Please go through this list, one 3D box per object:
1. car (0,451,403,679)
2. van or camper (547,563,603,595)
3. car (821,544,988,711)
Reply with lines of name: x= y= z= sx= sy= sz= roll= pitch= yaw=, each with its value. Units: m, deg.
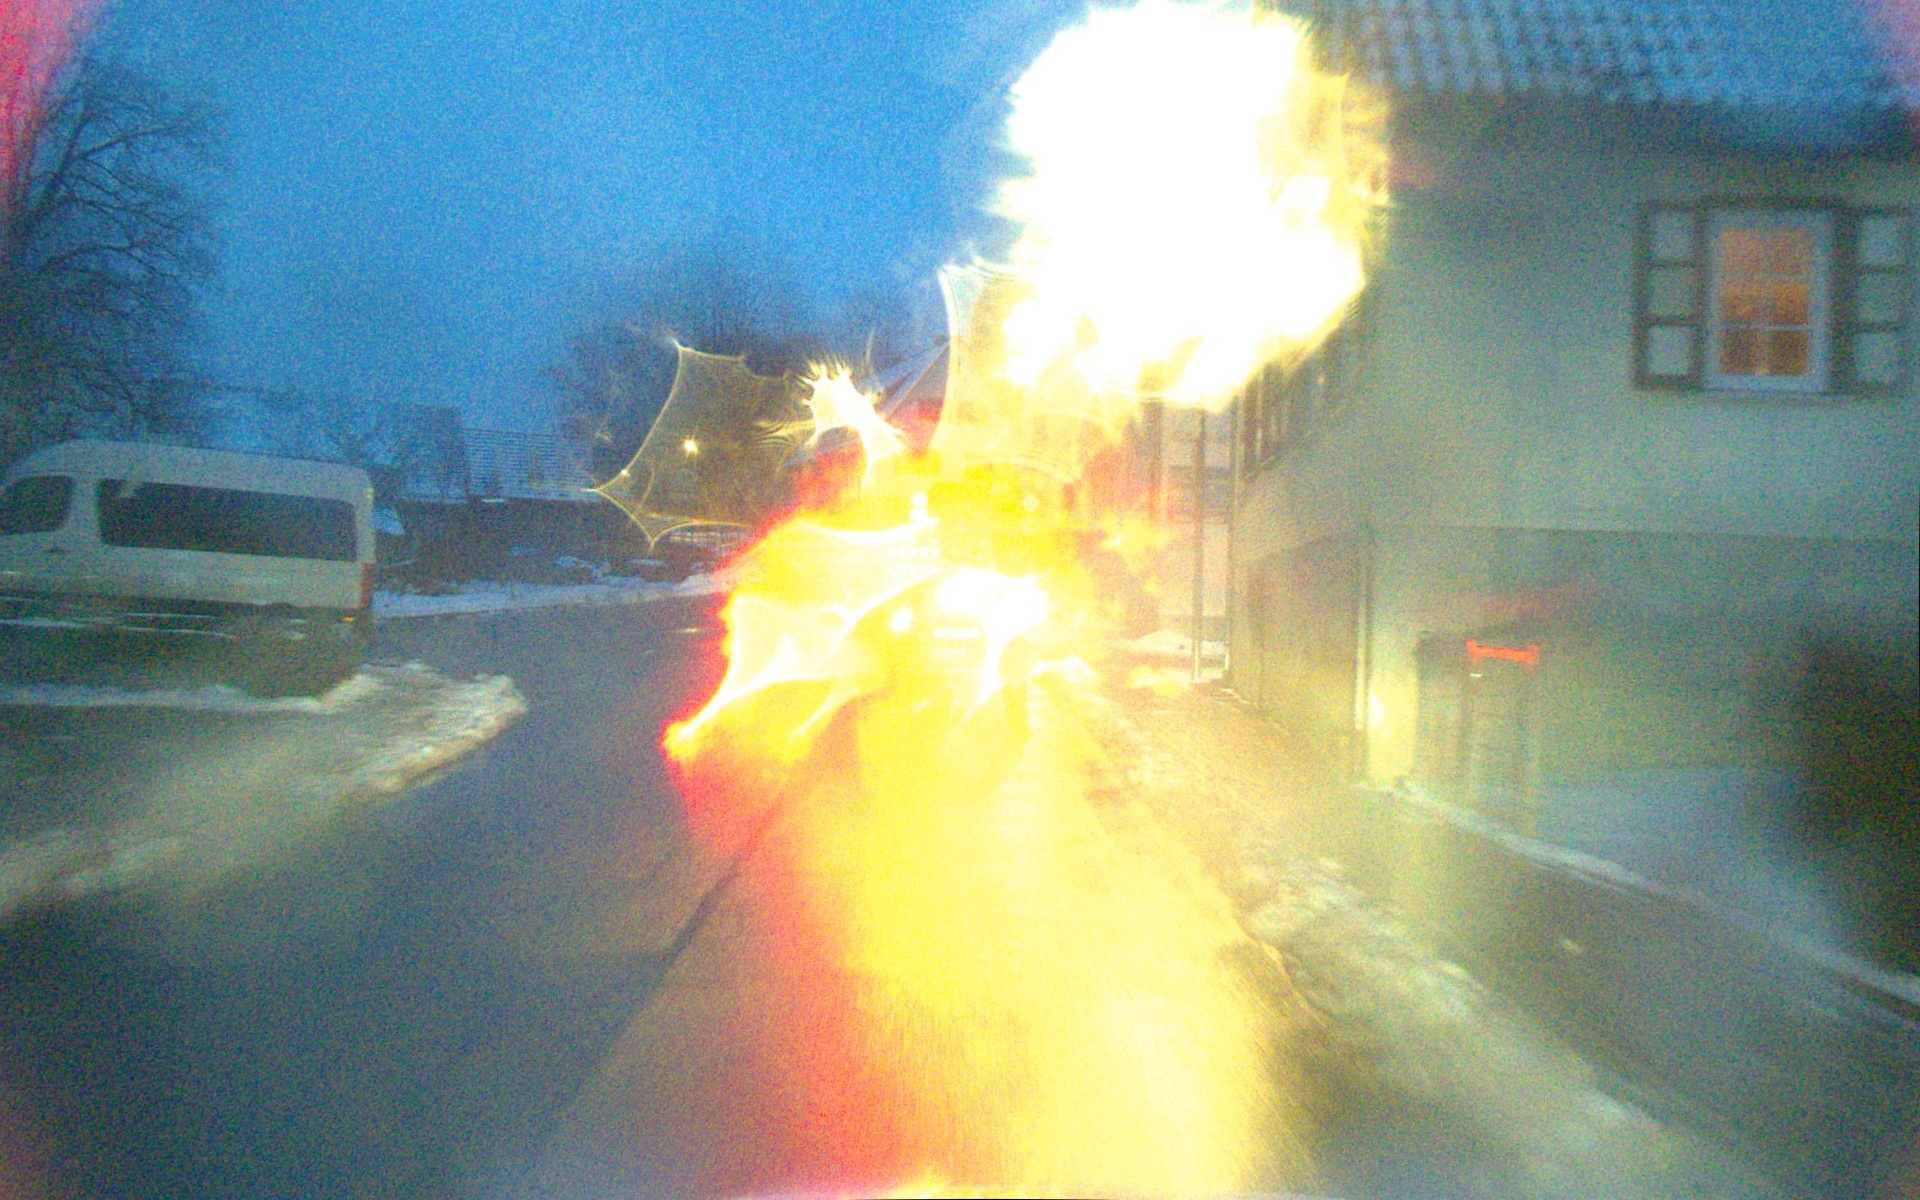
car: x=-10.243 y=-0.368 z=20.491 sx=6.037 sy=2.598 sz=1.978 roll=1 pitch=-1 yaw=-33
van or camper: x=-14.073 y=-0.749 z=60.356 sx=1.267 sy=1.121 sz=3.244 roll=2 pitch=-1 yaw=-27
car: x=-0.578 y=0.258 z=20.005 sx=1.784 sy=1.828 sz=3.579 roll=-1 pitch=1 yaw=1
